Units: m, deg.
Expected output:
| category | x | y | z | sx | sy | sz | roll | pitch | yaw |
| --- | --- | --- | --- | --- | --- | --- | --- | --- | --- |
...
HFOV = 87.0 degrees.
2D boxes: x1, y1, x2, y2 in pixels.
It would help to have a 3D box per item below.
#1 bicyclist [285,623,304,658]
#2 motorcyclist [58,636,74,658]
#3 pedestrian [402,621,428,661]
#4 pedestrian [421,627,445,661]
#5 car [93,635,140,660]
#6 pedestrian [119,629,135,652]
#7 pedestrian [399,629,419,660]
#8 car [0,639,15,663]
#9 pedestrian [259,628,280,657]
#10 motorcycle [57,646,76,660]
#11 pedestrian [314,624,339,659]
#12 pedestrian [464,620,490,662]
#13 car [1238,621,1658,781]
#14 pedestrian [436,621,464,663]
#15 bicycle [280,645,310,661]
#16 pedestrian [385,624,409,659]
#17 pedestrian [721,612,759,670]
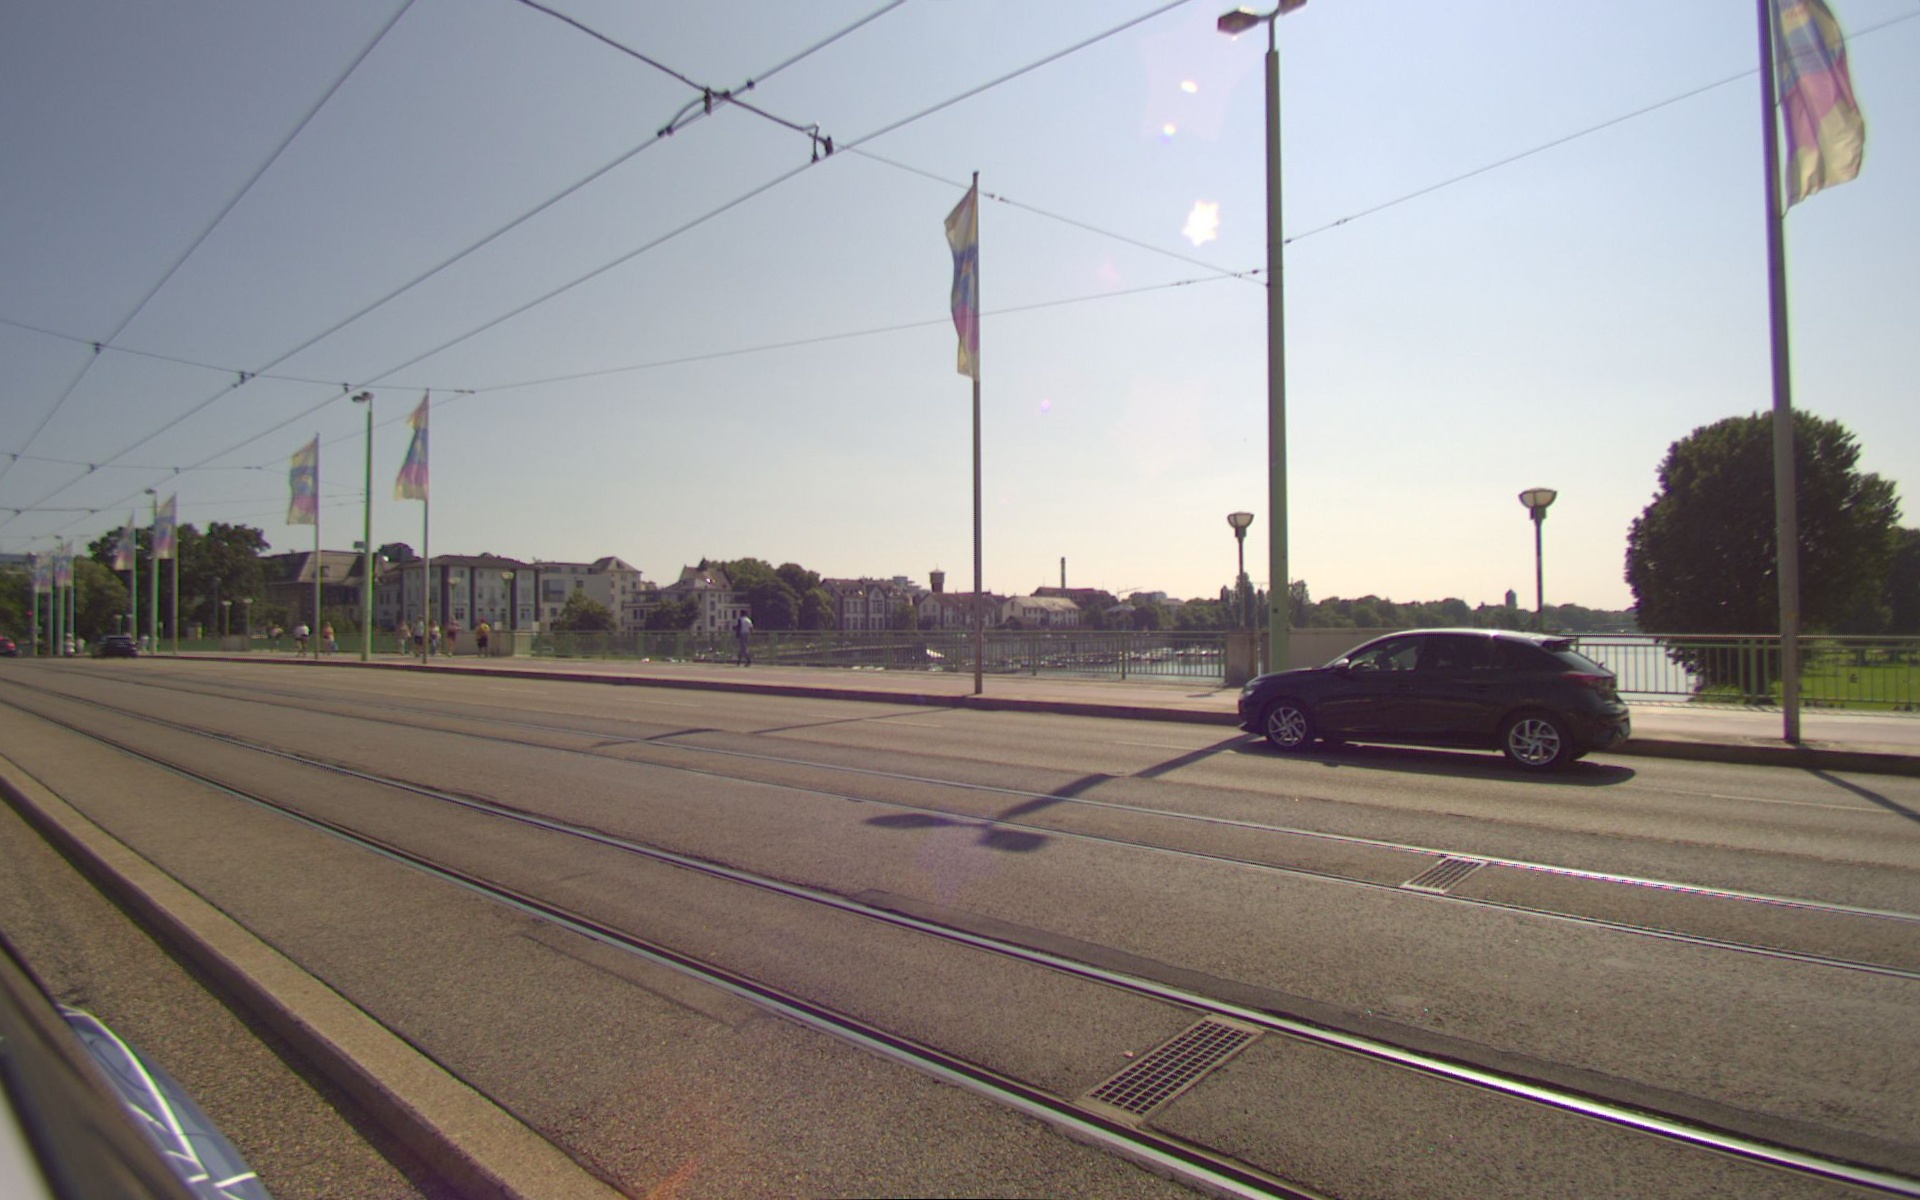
| category | x | y | z | sx | sy | sz | roll | pitch | yaw |
| --- | --- | --- | --- | --- | --- | --- | --- | --- | --- |
| bicyclist | -32.178 | 1.972 | 48.935 | 0.621 | 1.663 | 0.657 | -2 | -2 | 42 |
| motorcyclist | -65.113 | 3.385 | 73.705 | 0.728 | 1.524 | 0.730 | -2 | 2 | 40 |
| pedestrian | -23.549 | 1.762 | 43.735 | 1.022 | 1.712 | 0.663 | -2 | 0 | 41 |
| pedestrian | -22.904 | 1.902 | 43.994 | 1.022 | 1.425 | 0.584 | -2 | 0 | 41 |
| car | -51.834 | 2.916 | 62.139 | 3.999 | 1.447 | 1.650 | -1 | -2 | 42 |
| pedestrian | -65.746 | 3.185 | 79.901 | 1.022 | 1.712 | 0.777 | -2 | 0 | 41 |
| pedestrian | -26.166 | 2.094 | 48.064 | 0.788 | 1.448 | 0.540 | -2 | 0 | 41 |
| car | -75.181 | 3.993 | 78.958 | 3.999 | 1.709 | 1.692 | -2 | 2 | 42 |
| pedestrian | -42.150 | 2.591 | 61.806 | 1.022 | 1.712 | 0.777 | -2 | 0 | 41 |
| motorcycle | -65.053 | 3.856 | 73.686 | 2.144 | 0.895 | 0.725 | -2 | 2 | 41 |
| pedestrian | -32.434 | 2.110 | 51.826 | 1.022 | 1.712 | 0.777 | -2 | 0 | 41 |
| pedestrian | -20.291 | 1.713 | 42.539 | 1.022 | 1.712 | 0.584 | -2 | 0 | 41 |
| car | 5.284 | 0.992 | 11.244 | 3.899 | 1.466 | 1.698 | -2 | -3 | 41 |
| pedestrian | -21.437 | 1.751 | 42.517 | 1.022 | 1.703 | 0.677 | -2 | 0 | 41 |
| bicycle | -32.146 | 2.559 | 48.898 | 2.172 | 0.721 | 0.658 | -2 | -2 | 42 |
| pedestrian | -26.333 | 1.938 | 47.330 | 1.022 | 1.611 | 0.619 | -2 | 0 | 41 |
| pedestrian | -6.662 | 1.246 | 30.673 | 1.022 | 1.712 | 0.584 | -2 | 0 | 41 |
